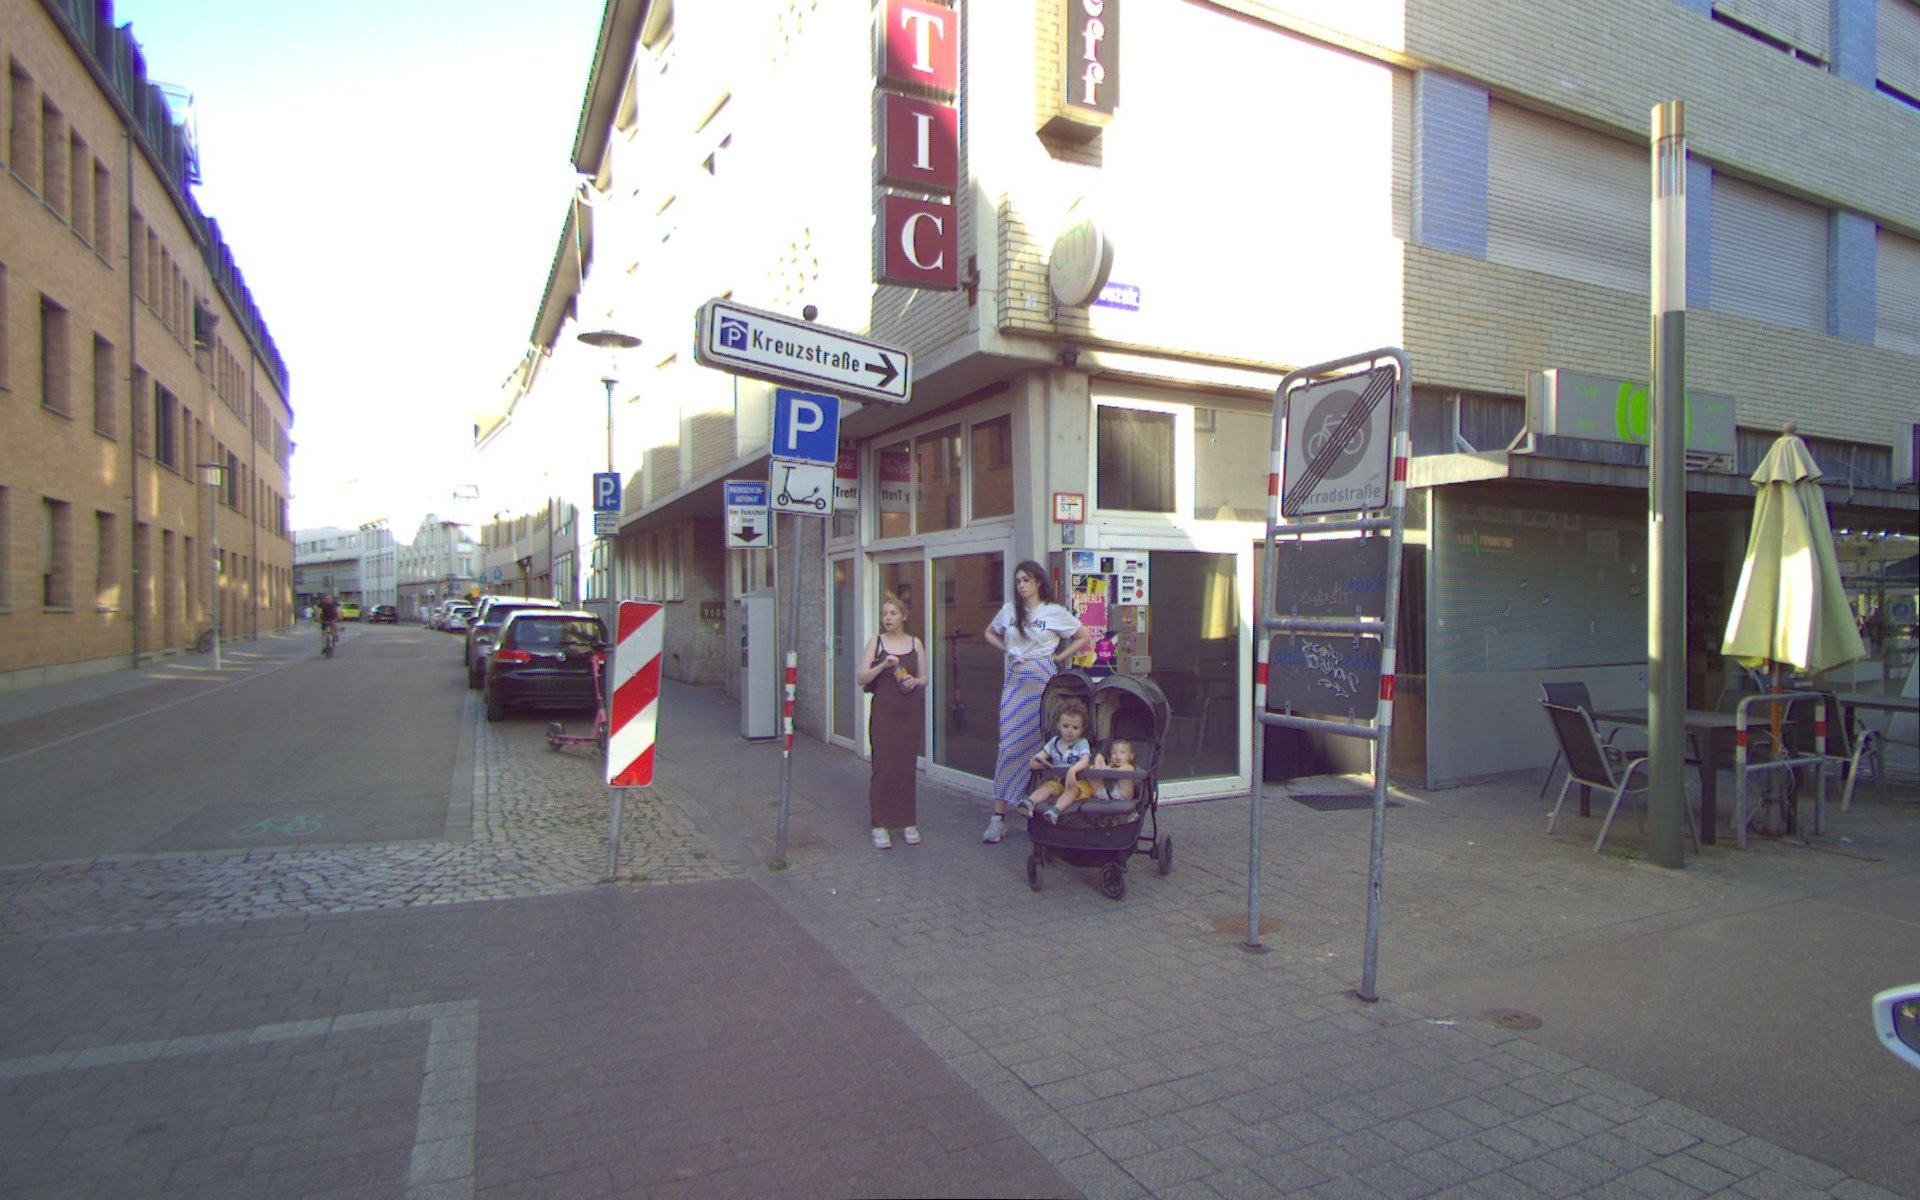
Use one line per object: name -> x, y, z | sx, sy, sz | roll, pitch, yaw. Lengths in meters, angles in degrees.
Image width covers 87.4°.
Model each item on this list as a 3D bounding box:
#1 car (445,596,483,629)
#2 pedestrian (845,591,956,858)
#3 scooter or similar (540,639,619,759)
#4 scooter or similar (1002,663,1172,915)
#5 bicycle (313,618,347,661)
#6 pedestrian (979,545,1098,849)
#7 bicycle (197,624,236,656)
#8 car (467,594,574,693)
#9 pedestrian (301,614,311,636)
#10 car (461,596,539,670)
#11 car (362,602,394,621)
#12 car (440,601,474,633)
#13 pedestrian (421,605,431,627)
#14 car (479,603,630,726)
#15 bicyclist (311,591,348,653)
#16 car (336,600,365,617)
car -> -27.323, 0.673, 55.280 | 1.673, 1.701, 3.481 | 2, -2, -28
pedestrian -> -0.388, 0.756, 6.420 | 0.526, 1.601, 0.508 | -3, 1, -20
scooter or similar -> -3.975, 1.017, 10.485 | 0.865, 1.199, 0.208 | 0, 0, 24
scooter or similar -> 0.725, 0.964, 5.496 | 0.783, 1.159, 0.954 | 0, 1, 16
bicycle -> -17.696, 1.093, 28.241 | 0.697, 1.118, 1.812 | -4, 1, -31
pedestrian -> 0.498, 0.597, 6.436 | 0.647, 1.844, 0.571 | -2, 1, 3
bicycle -> -23.041, 1.218, 31.160 | 0.635, 0.893, 2.537 | 1, -1, -29
car -> -8.508, 0.794, 19.269 | 1.652, 1.683, 4.053 | 2, -2, -26
pedestrian -> -46.362, 1.768, 71.212 | 0.536, 1.565, 0.402 | 1, -1, -28
car -> -11.850, 0.816, 25.782 | 1.652, 1.727, 3.986 | 2, -2, -26
car -> -51.843, 0.988, 89.449 | 1.920, 1.673, 3.792 | 0, 0, -40
car -> -30.217, 0.994, 60.279 | 1.673, 1.798, 3.628 | 2, -2, -28
pedestrian -> -35.771, 1.082, 67.292 | 0.565, 1.499, 0.469 | 0, 0, -34
car -> -5.981, 0.841, 14.574 | 1.718, 1.506, 3.786 | 2, -1, -26
bicyclist -> -17.734, 0.624, 28.269 | 0.764, 1.678, 0.949 | -3, 1, -31
car -> -61.965, 0.890, 102.059 | 1.920, 1.673, 3.792 | 2, -1, -40
